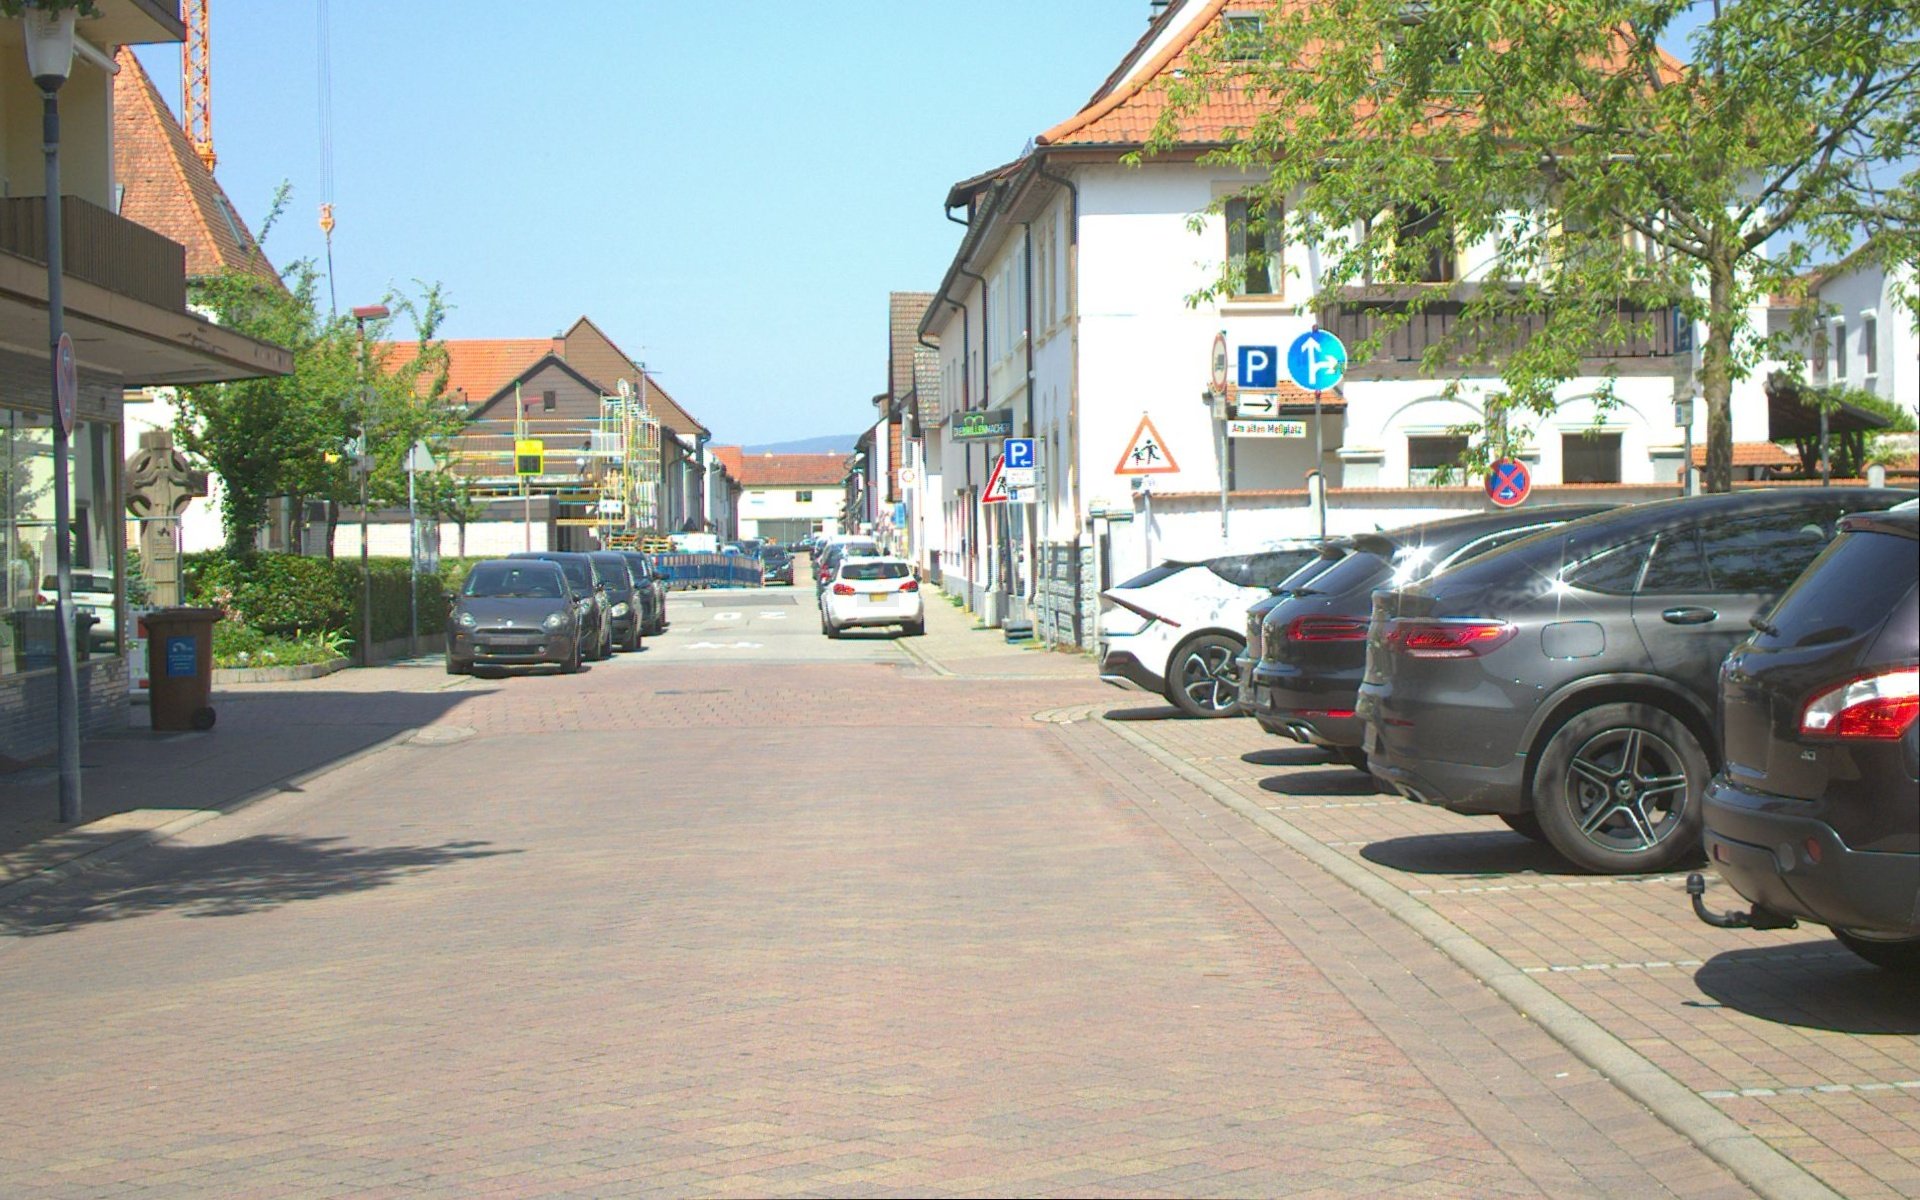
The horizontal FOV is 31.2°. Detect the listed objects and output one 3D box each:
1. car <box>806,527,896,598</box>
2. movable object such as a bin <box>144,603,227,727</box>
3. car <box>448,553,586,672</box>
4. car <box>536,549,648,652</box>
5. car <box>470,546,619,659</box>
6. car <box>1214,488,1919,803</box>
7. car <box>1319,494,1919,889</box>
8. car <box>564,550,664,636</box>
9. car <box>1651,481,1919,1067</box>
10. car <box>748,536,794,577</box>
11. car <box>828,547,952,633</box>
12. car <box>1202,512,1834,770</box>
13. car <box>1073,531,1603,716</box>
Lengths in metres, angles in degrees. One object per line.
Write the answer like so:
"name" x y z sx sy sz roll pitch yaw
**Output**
"car" -2.706 -0.942 84.467 1.884 1.550 3.895 -4 2 -5
"movable object such as a bin" -6.791 0.567 30.167 0.655 1.066 0.664 0 1 -8
"car" -5.851 0.130 45.709 1.702 1.491 3.858 -1 1 -6
"car" -6.112 -0.016 57.388 1.637 1.623 3.769 -1 1 -3
"car" -6.207 0.006 51.707 1.815 1.599 4.025 -1 1 -1
"car" 3.812 0.232 20.642 4.278 1.675 2.001 -2 1 -3
"car" 3.960 0.332 15.314 4.508 1.583 1.850 -2 1 1
"car" -6.825 -0.169 68.152 1.826 1.625 4.218 -1 1 -4
"car" 4.313 0.392 10.394 4.026 1.606 1.681 -3 1 -1
"car" -7.902 -1.834 143.755 1.881 1.662 4.154 0 1 -3
"car" -1.279 -0.218 64.543 1.887 1.536 4.242 -1 1 5
"car" 3.768 0.256 23.682 3.943 1.528 1.824 -3 1 -2
"car" 3.318 0.188 30.700 4.439 1.570 1.789 0 1 -4
